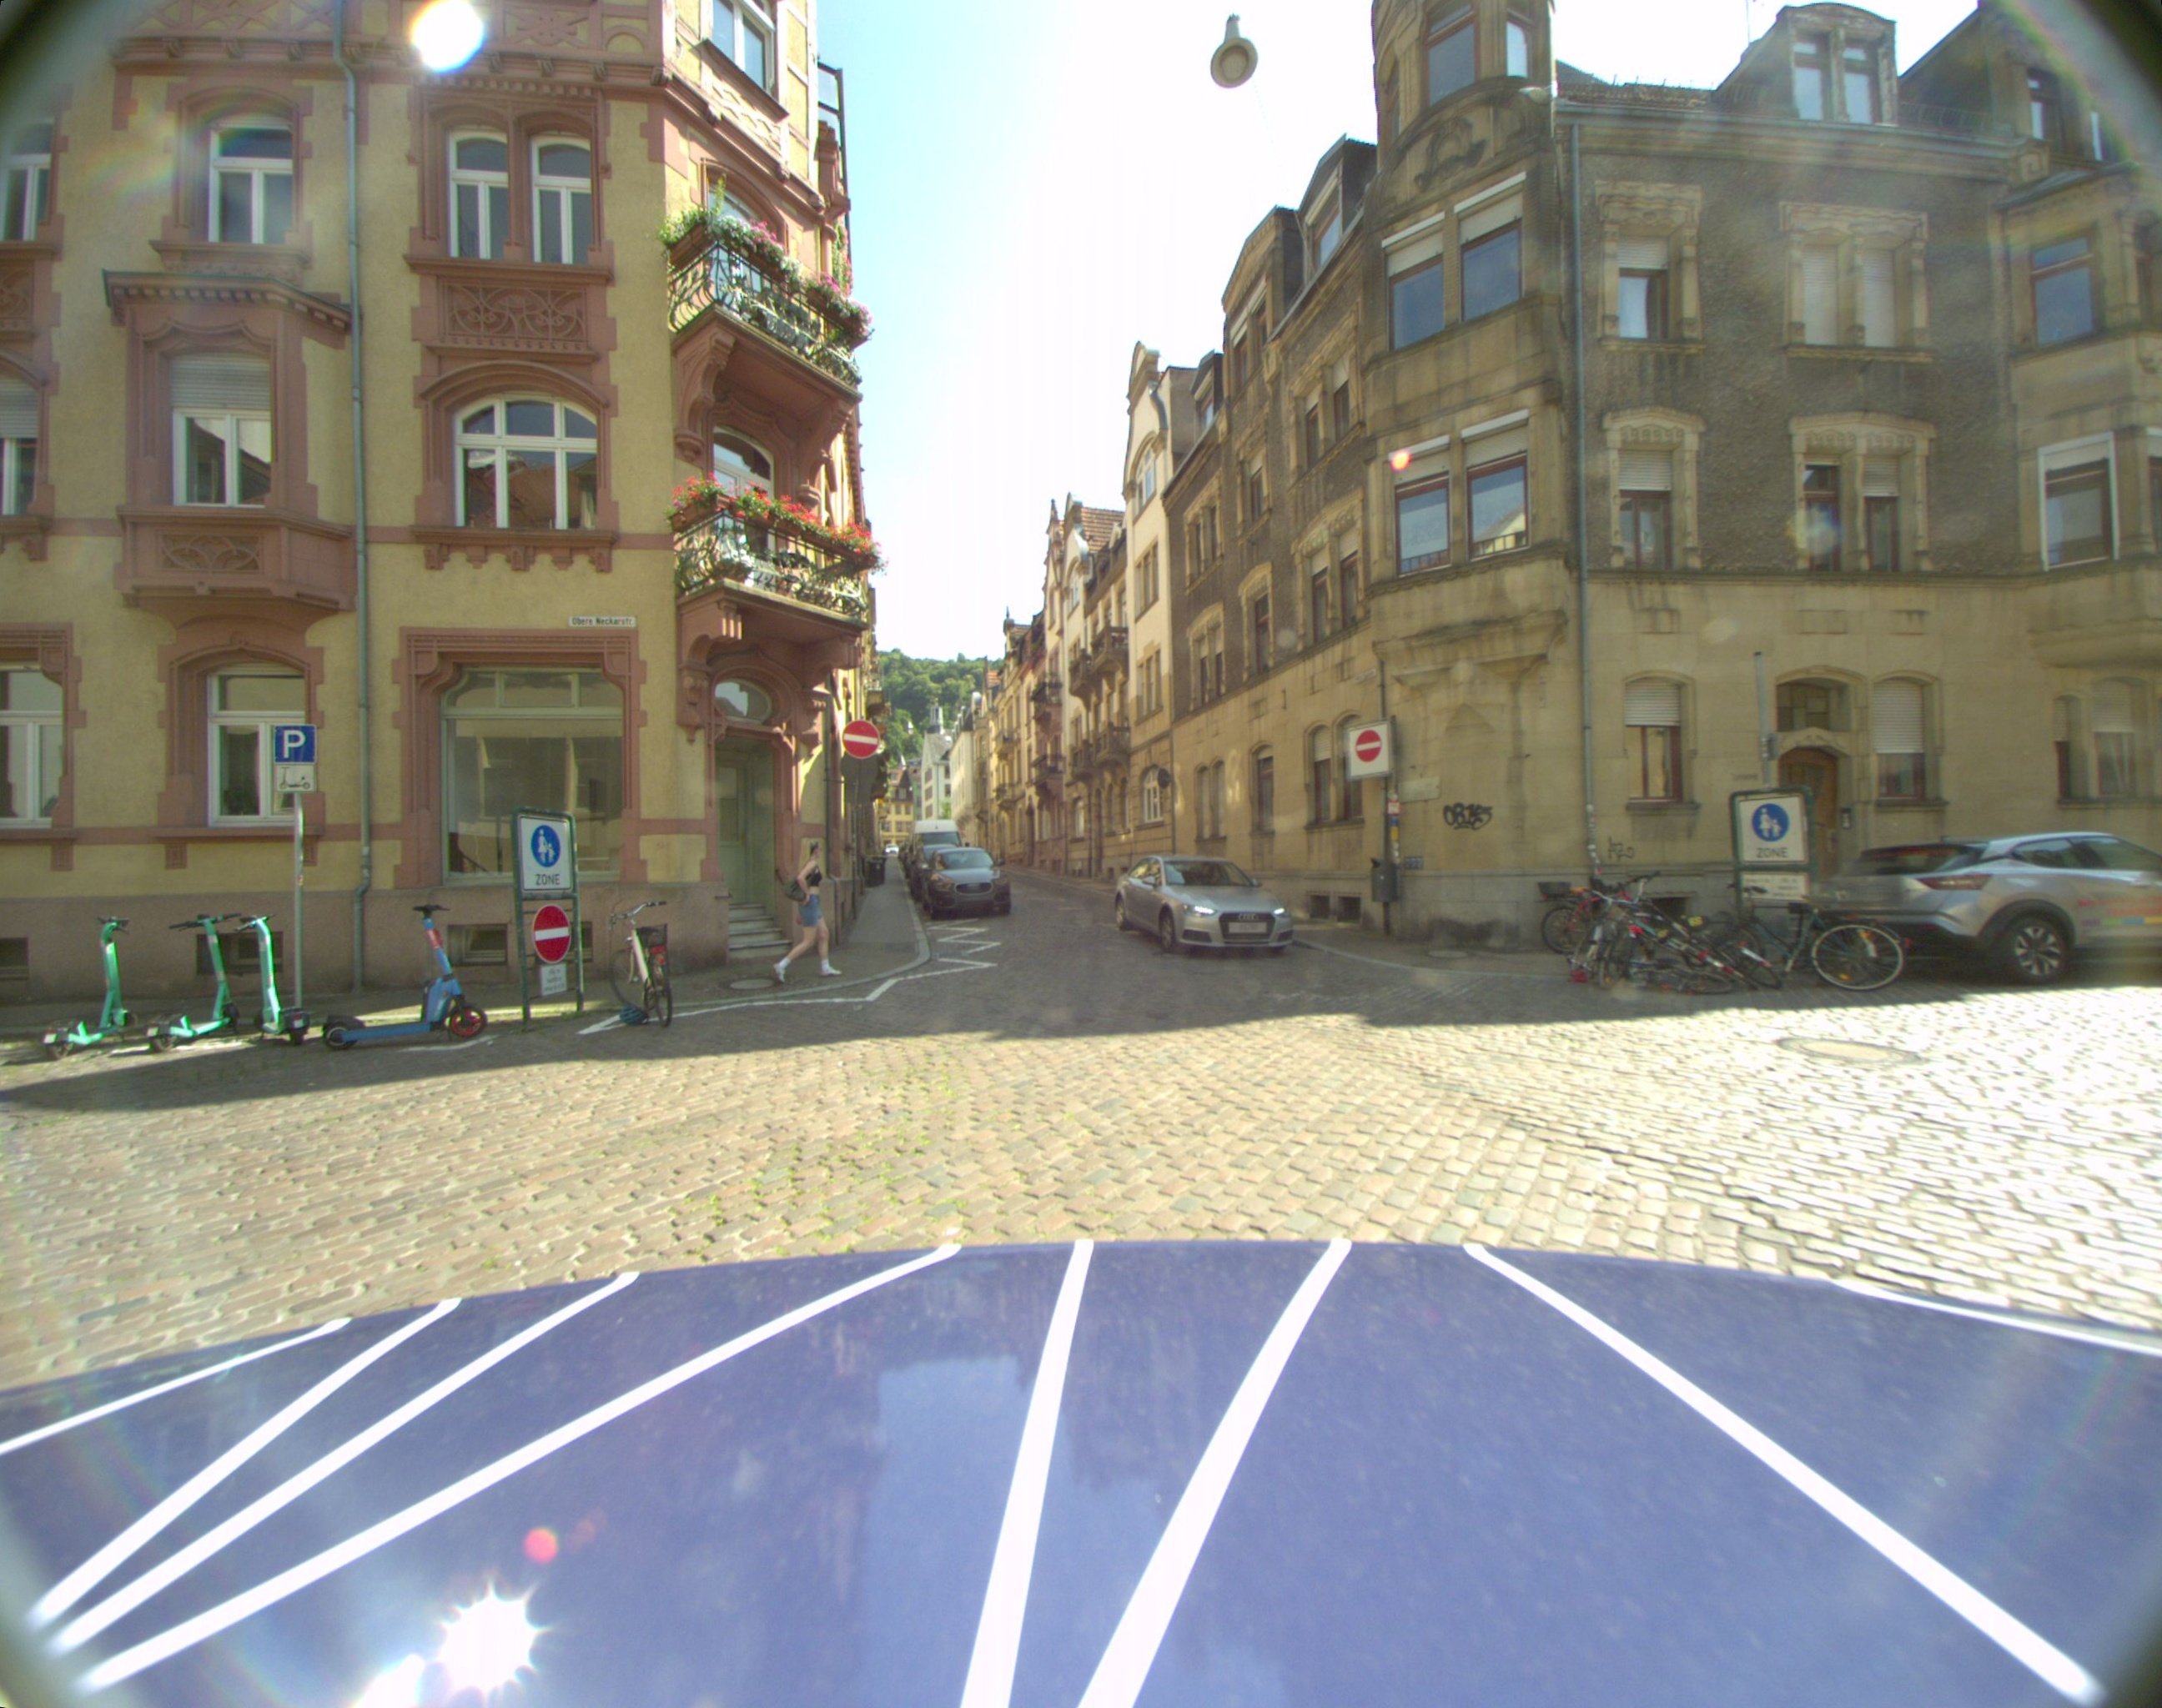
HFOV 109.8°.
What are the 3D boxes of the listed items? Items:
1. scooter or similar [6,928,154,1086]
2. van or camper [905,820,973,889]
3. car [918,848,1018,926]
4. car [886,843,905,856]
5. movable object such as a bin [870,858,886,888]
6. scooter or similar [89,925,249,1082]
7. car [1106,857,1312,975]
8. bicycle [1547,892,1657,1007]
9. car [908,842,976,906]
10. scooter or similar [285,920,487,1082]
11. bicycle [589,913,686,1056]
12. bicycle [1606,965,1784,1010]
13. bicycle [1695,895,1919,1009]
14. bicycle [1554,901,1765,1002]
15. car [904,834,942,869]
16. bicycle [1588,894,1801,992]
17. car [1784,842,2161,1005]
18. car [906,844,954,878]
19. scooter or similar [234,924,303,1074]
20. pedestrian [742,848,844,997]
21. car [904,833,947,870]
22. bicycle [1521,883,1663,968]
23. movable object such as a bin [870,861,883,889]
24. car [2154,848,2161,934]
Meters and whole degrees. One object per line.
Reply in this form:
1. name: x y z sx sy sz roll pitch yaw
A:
1. scooter or similar: -8.943 1.312 6.832 0.343 1.202 1.188 -1 0 -29
2. van or camper: -5.897 -0.078 30.894 2.228 2.506 6.757 -1 2 -15
3. car: -2.861 0.690 18.500 1.863 1.574 4.254 -3 2 -15
4. car: -25.474 -0.591 104.355 2.002 1.652 3.993 -1 0 -21
5. movable object such as a bin: -7.486 0.700 28.001 0.518 1.083 0.421 -1 0 -14
6. scooter or similar: -8.320 1.306 6.988 0.413 1.202 1.232 -1 0 -23
7. car: 1.835 0.831 12.446 1.878 1.484 4.378 -1 1 -11
8. bicycle: 5.772 1.013 8.508 0.285 1.079 1.644 -4 -1 10
9. car: -4.397 0.526 23.649 1.762 1.696 3.994 -4 2 -14
10. scooter or similar: -5.940 1.226 6.551 1.191 1.228 0.442 -1 0 -18
11. bicycle: -4.411 1.212 7.504 0.506 1.139 1.788 -1 0 -40
12. bicycle: 6.519 1.412 8.158 1.077 0.286 1.125 -1 -1 10
13. bicycle: 7.570 0.984 8.020 0.286 1.079 1.639 1 -4 -32
14. bicycle: 6.418 1.051 8.545 0.285 1.081 1.640 -46 11 -11
15. car: -9.964 -0.123 47.712 2.001 2.133 3.995 -1 -1 -16
16. bicycle: 6.899 0.972 8.662 0.285 1.081 1.640 -46 11 -11
17. car: 10.539 0.663 8.424 3.927 1.535 1.852 -1 0 -5
18. car: -7.452 0.360 37.251 2.001 1.517 3.995 -1 -1 -16
19. scooter or similar: -7.448 1.275 6.953 1.187 1.202 0.343 -1 0 40
20. pedestrian: -3.556 0.825 9.461 0.980 1.749 0.622 -2 3 -5
21. car: -8.618 -0.084 41.900 2.001 1.904 3.995 -1 -1 -16
22. bicycle: 7.063 0.973 10.529 1.642 1.080 0.495 -1 4 -5
23. movable object such as a bin: -7.218 0.734 26.827 0.440 0.952 0.349 -1 0 -14
24. car: 14.854 0.570 8.226 3.998 1.534 1.853 -2 -2 -4
